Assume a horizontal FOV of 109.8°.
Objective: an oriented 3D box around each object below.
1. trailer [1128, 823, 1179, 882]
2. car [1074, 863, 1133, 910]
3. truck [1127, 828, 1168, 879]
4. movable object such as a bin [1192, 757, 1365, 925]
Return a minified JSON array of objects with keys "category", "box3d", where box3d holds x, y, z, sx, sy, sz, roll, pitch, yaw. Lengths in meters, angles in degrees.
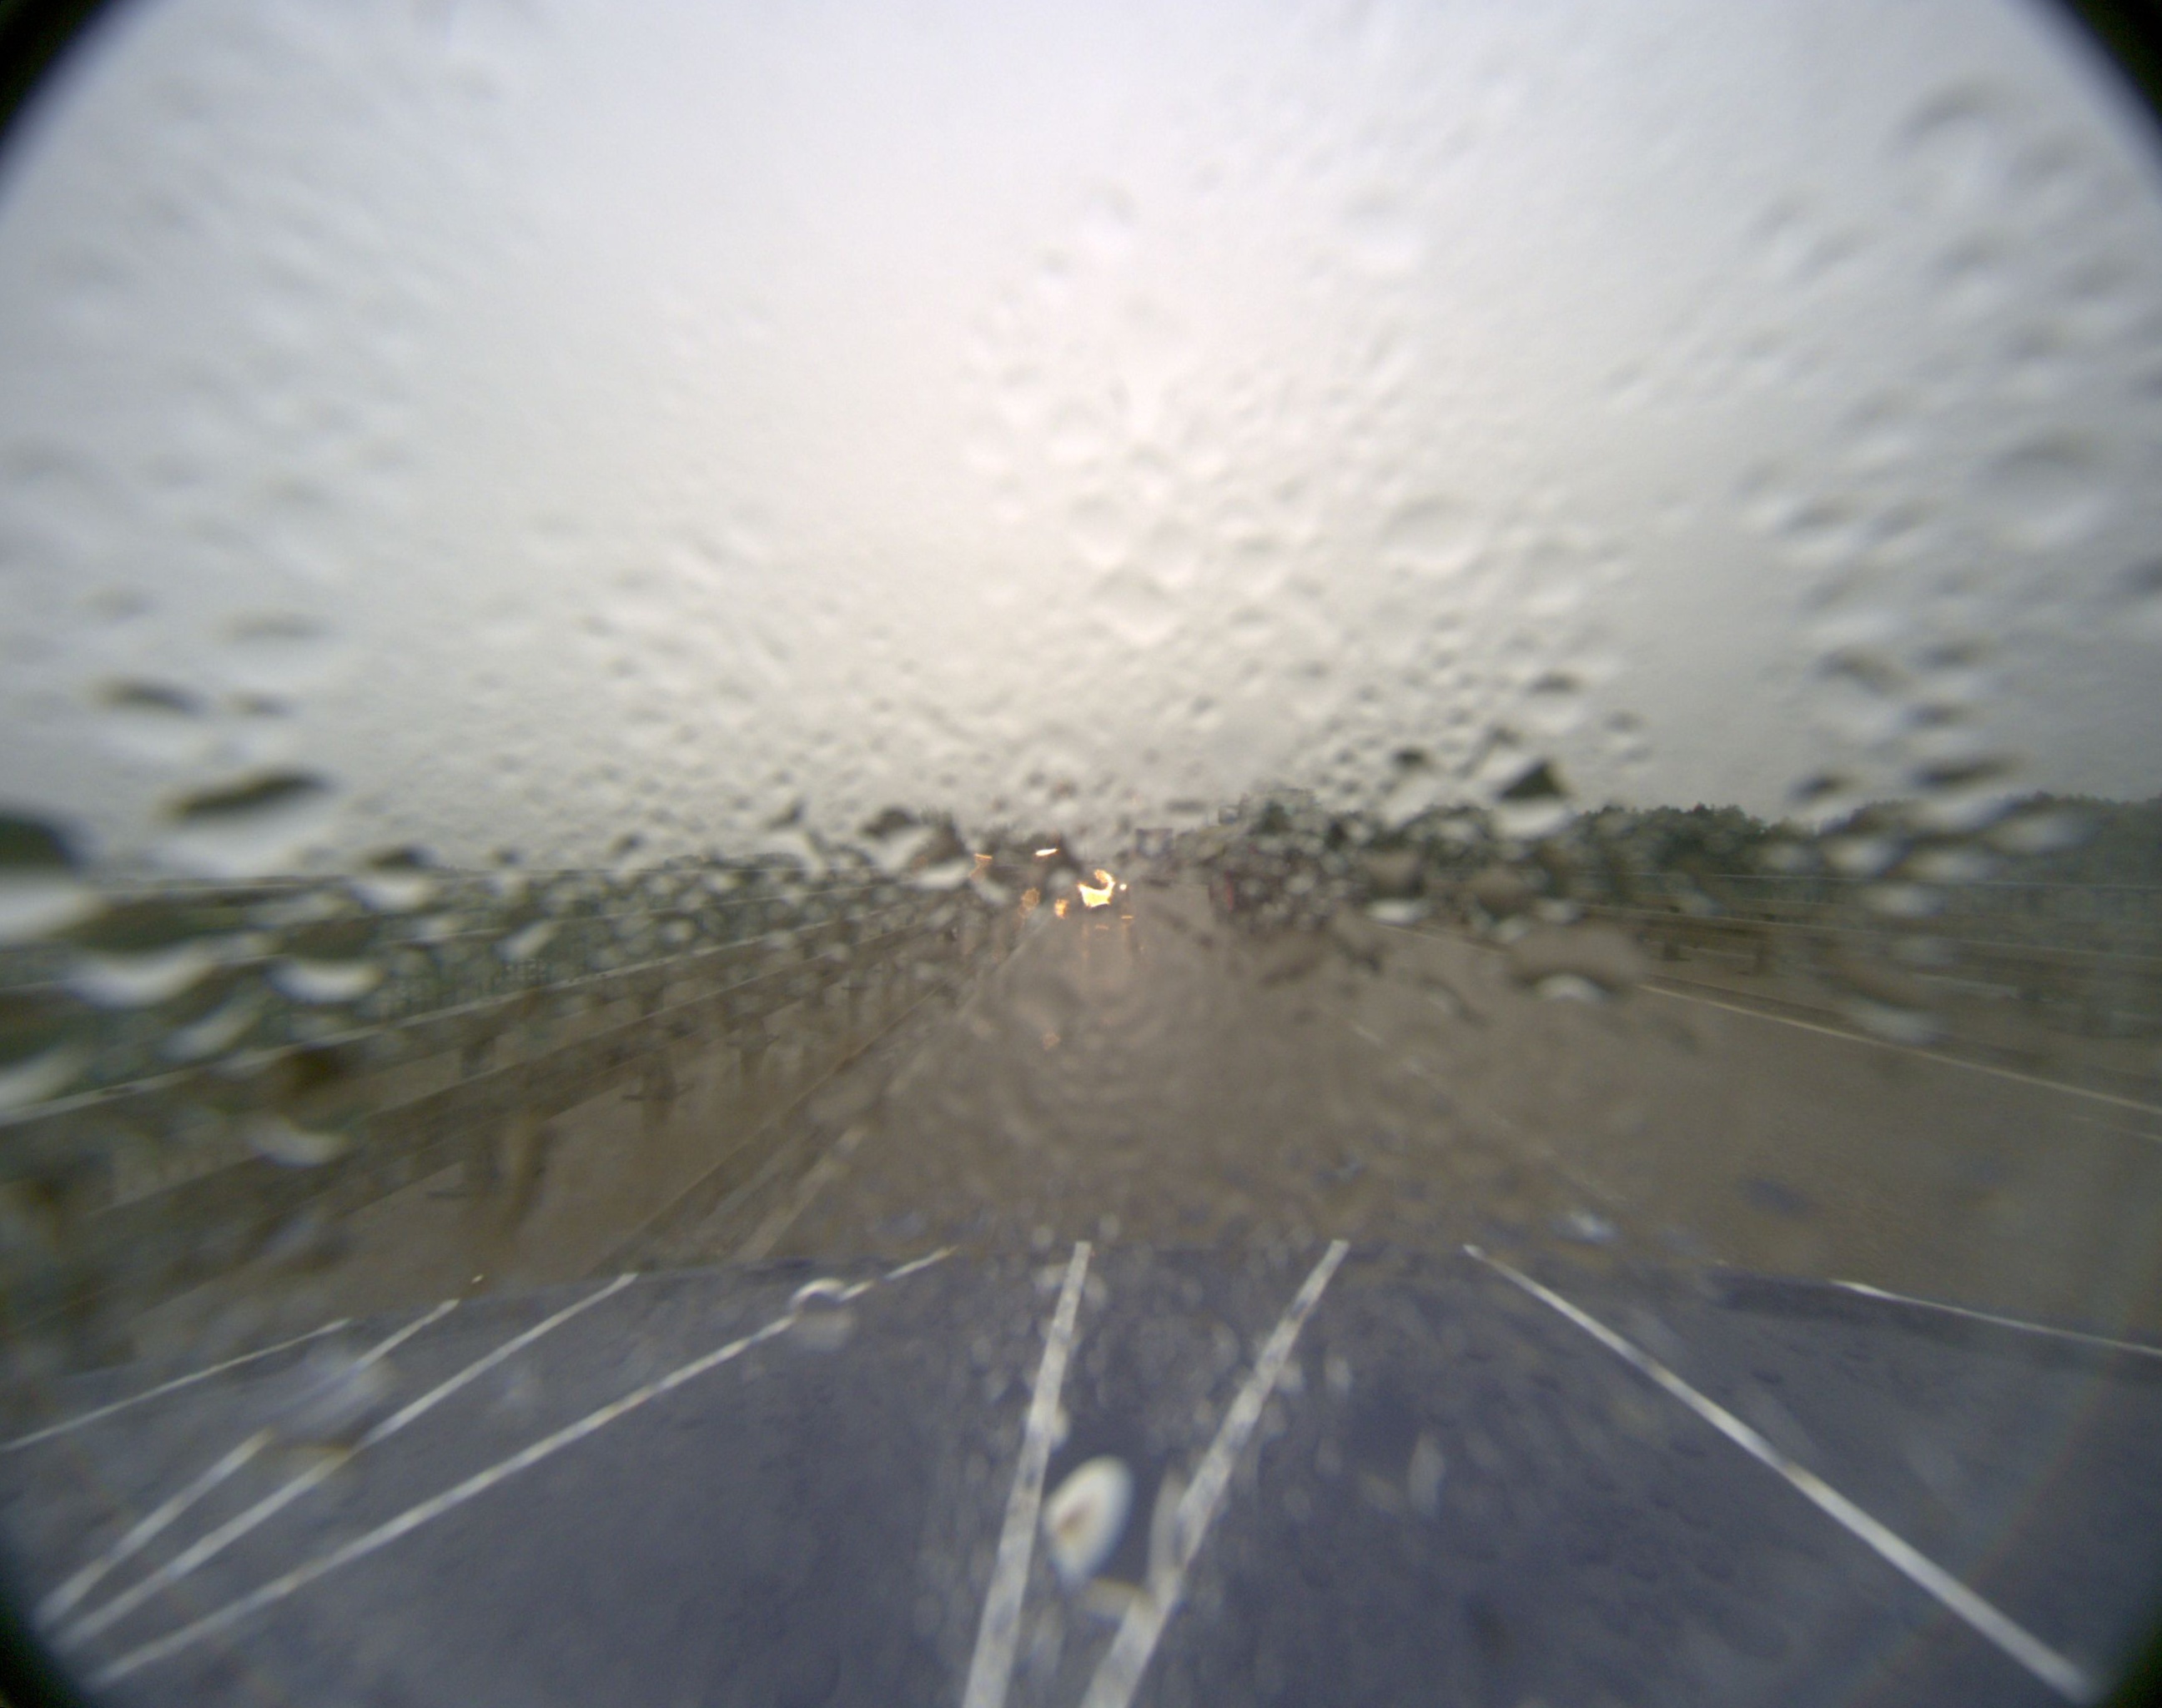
[{"category":"trailer","box3d":[5.402,-0.026,58.943,2.825,3.946,13.738,-1,-1,1]},{"category":"car","box3d":[0.779,1.063,26.258,1.819,1.382,4.069,-3,0,1]},{"category":"truck","box3d":[5.520,0.010,64.461,2.825,3.946,8.765,-1,0,1]},{"category":"movable object such as a bin","box3d":[4.399,-0.213,17.911,2.756,3.424,4.643,-1,-1,-1]}]
